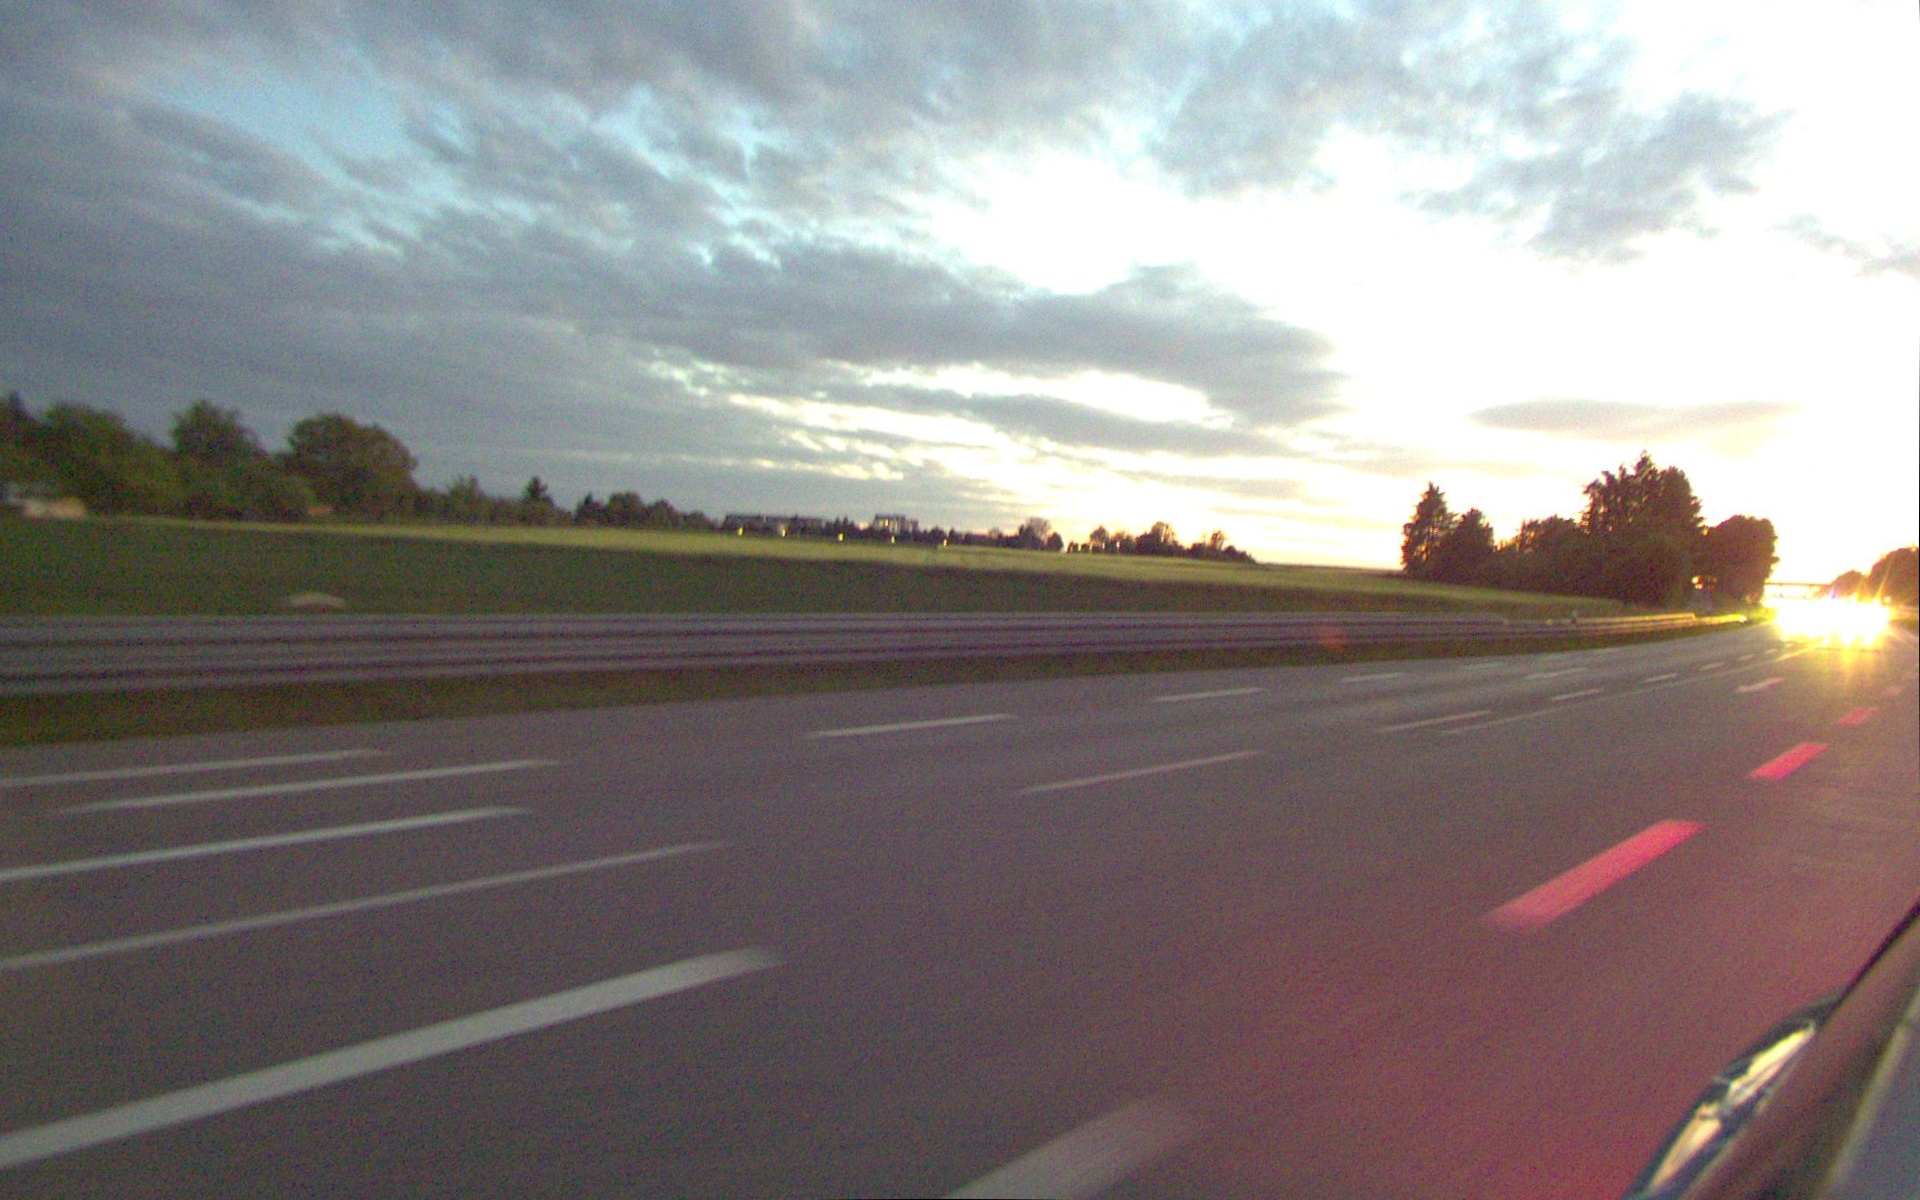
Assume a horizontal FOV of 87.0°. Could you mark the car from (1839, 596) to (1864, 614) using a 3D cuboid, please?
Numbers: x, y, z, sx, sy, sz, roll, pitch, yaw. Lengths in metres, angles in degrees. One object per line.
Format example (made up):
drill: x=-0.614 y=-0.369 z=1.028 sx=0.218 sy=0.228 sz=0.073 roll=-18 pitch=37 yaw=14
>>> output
car: x=105.592 y=0.555 z=119.866 sx=3.933 sy=2.039 sz=1.859 roll=0 pitch=0 yaw=-44

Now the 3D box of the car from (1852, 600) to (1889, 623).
car: x=60.978 y=0.773 z=67.812 sx=1.749 sy=1.474 sz=3.747 roll=0 pitch=0 yaw=40

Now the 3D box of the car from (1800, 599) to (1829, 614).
car: x=92.806 y=0.707 z=109.921 sx=3.933 sy=1.604 sz=1.995 roll=0 pitch=0 yaw=-44
